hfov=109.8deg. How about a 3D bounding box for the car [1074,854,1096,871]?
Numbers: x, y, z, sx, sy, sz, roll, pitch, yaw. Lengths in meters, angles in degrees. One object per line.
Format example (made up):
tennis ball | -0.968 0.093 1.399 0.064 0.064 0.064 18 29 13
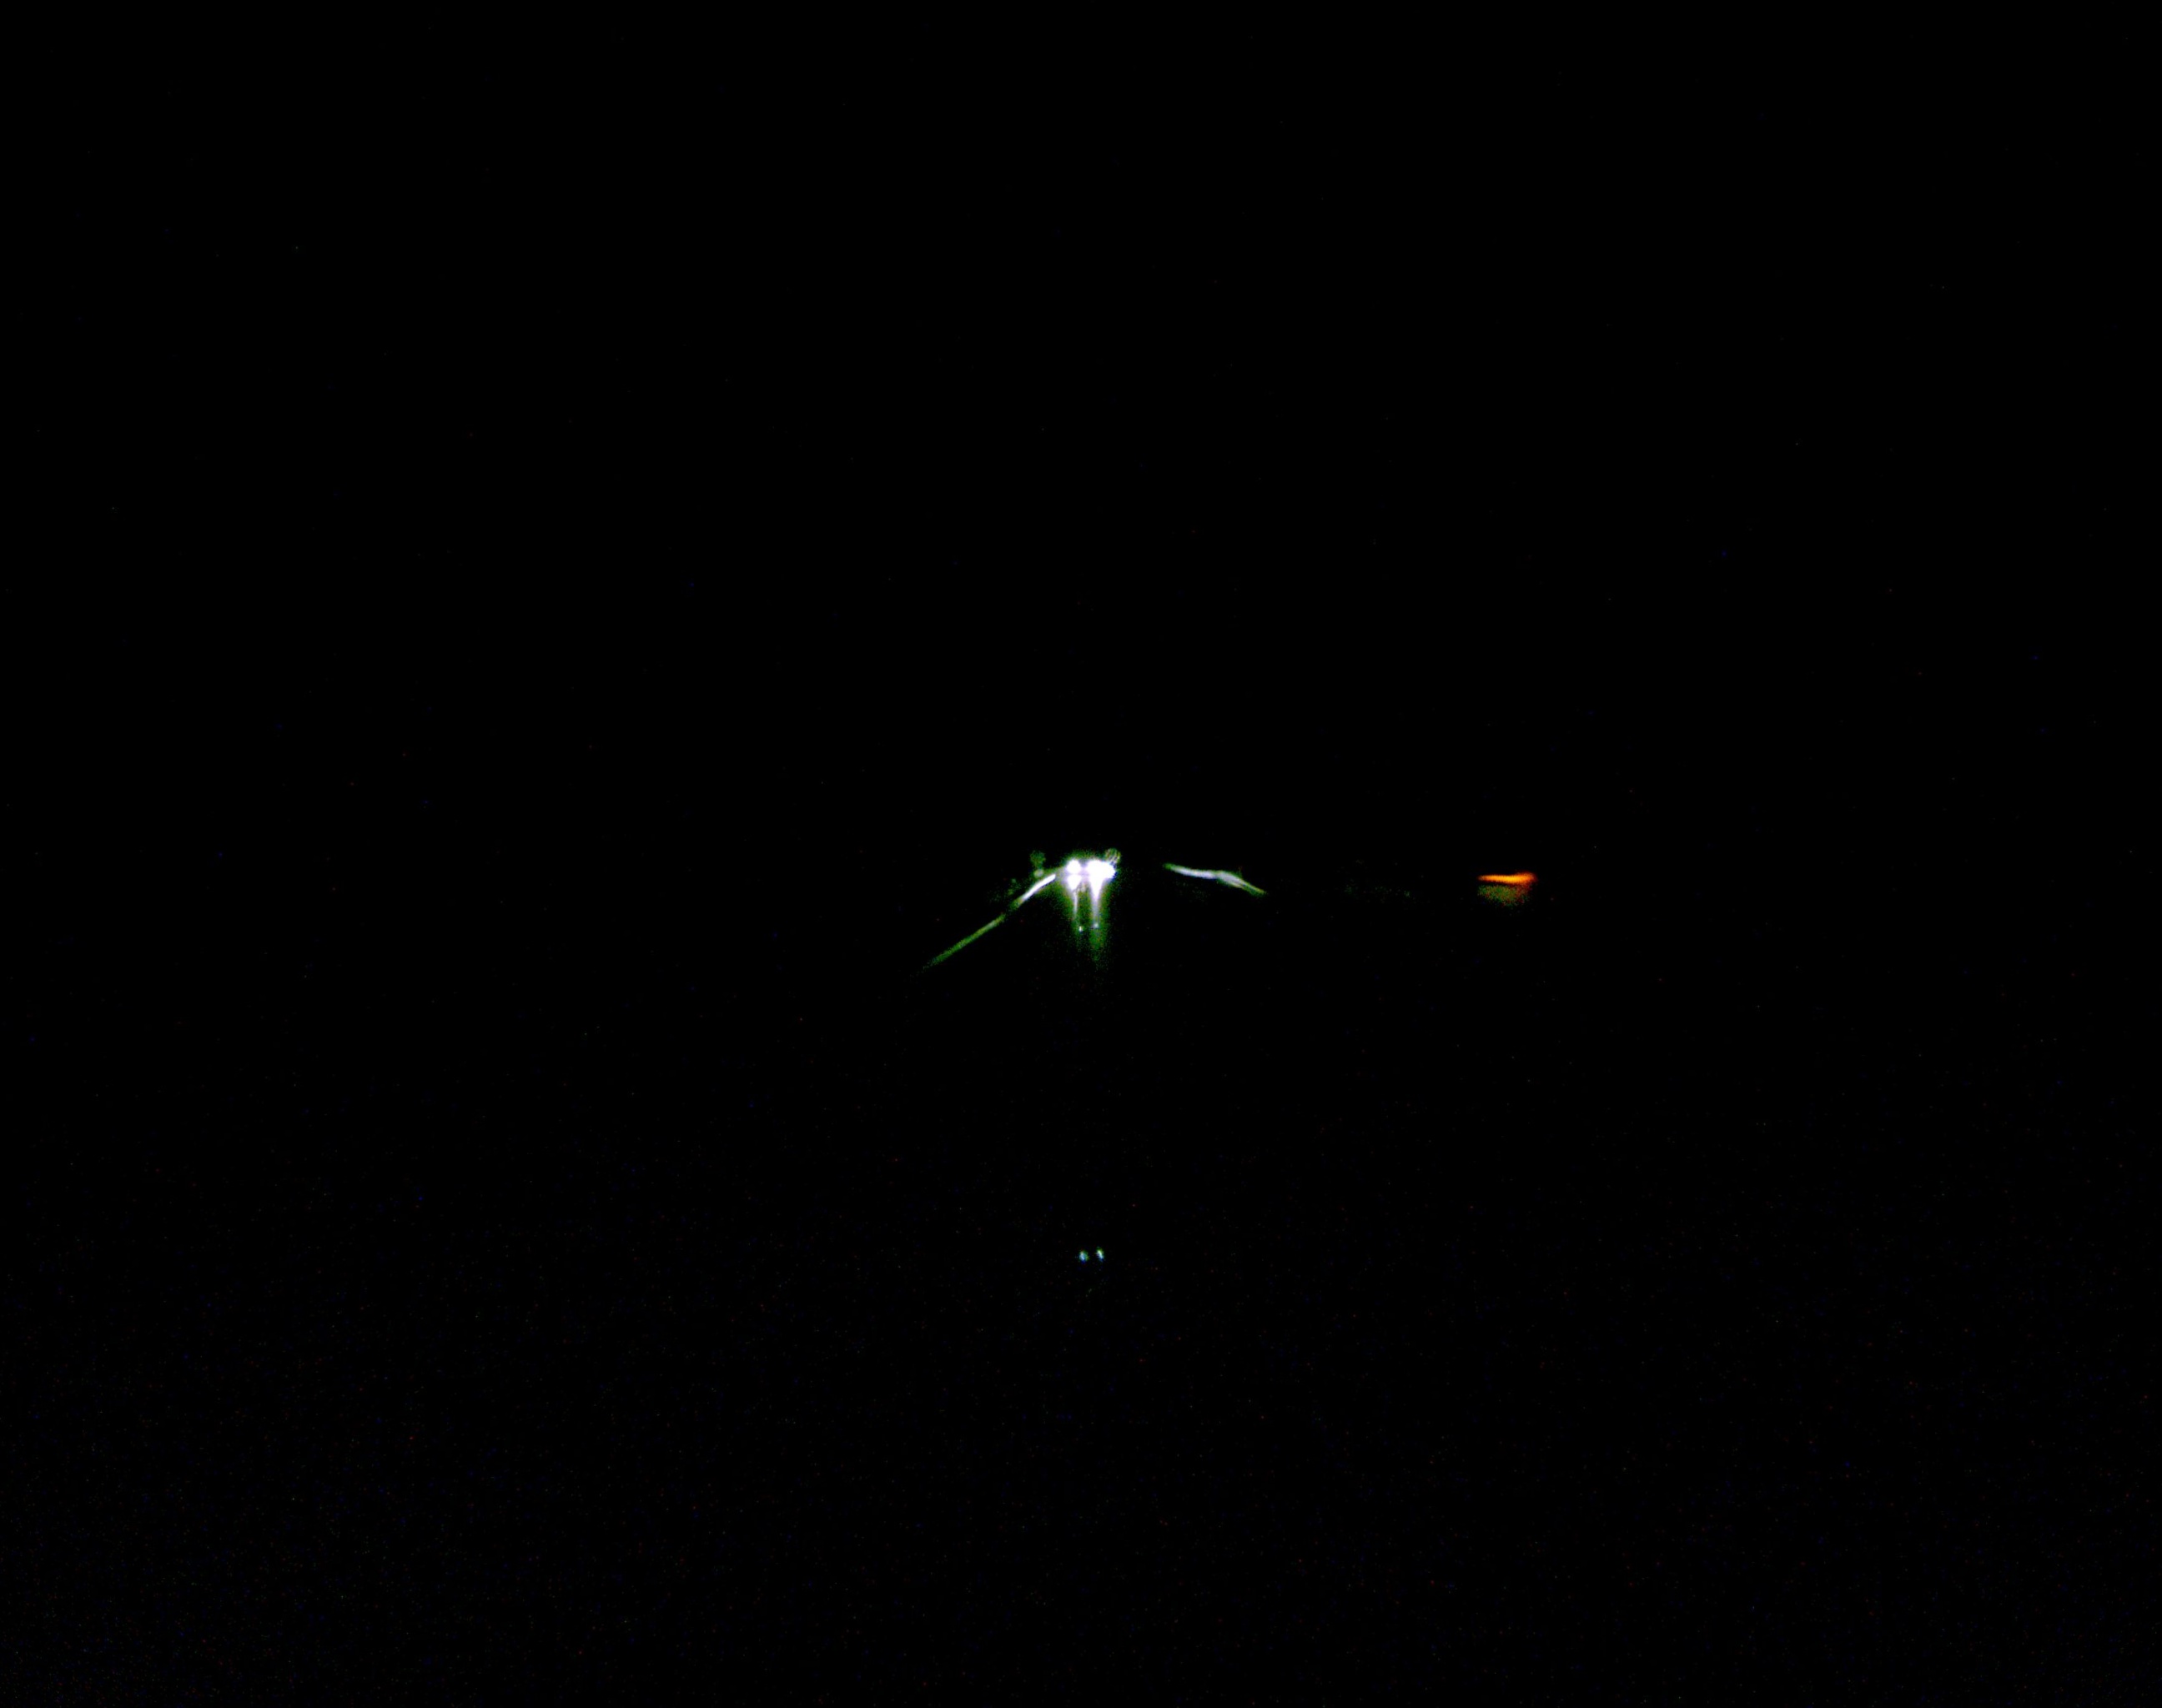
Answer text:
car | 0.364 0.786 67.627 1.775 1.444 4.138 0 -2 3

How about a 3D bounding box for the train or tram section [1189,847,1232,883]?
train or tram section | 13.140 1.043 77.729 2.851 3.440 8.552 -2 0 0

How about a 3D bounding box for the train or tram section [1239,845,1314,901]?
train or tram section | 13.174 1.199 52.003 2.851 3.440 8.552 -2 0 0

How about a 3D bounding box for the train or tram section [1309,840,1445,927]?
train or tram section | 13.181 1.175 34.855 2.851 3.440 8.552 -2 0 0

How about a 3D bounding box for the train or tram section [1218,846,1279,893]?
train or tram section | 13.178 1.135 60.576 2.851 3.440 8.552 -2 0 0

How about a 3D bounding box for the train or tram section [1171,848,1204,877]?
train or tram section | 13.149 1.034 94.819 2.851 3.440 8.552 -2 0 0

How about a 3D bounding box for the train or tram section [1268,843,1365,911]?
train or tram section | 13.195 1.164 43.438 2.851 3.440 8.552 -2 0 0

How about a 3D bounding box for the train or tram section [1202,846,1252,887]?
train or tram section | 13.178 1.031 69.136 2.851 3.440 8.552 -2 0 0

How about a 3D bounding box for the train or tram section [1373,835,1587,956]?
train or tram section | 13.176 1.195 26.255 2.851 3.440 8.552 -2 0 0

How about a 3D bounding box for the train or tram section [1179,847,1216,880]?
train or tram section | 13.128 1.039 86.264 2.851 3.440 8.552 -2 0 0
